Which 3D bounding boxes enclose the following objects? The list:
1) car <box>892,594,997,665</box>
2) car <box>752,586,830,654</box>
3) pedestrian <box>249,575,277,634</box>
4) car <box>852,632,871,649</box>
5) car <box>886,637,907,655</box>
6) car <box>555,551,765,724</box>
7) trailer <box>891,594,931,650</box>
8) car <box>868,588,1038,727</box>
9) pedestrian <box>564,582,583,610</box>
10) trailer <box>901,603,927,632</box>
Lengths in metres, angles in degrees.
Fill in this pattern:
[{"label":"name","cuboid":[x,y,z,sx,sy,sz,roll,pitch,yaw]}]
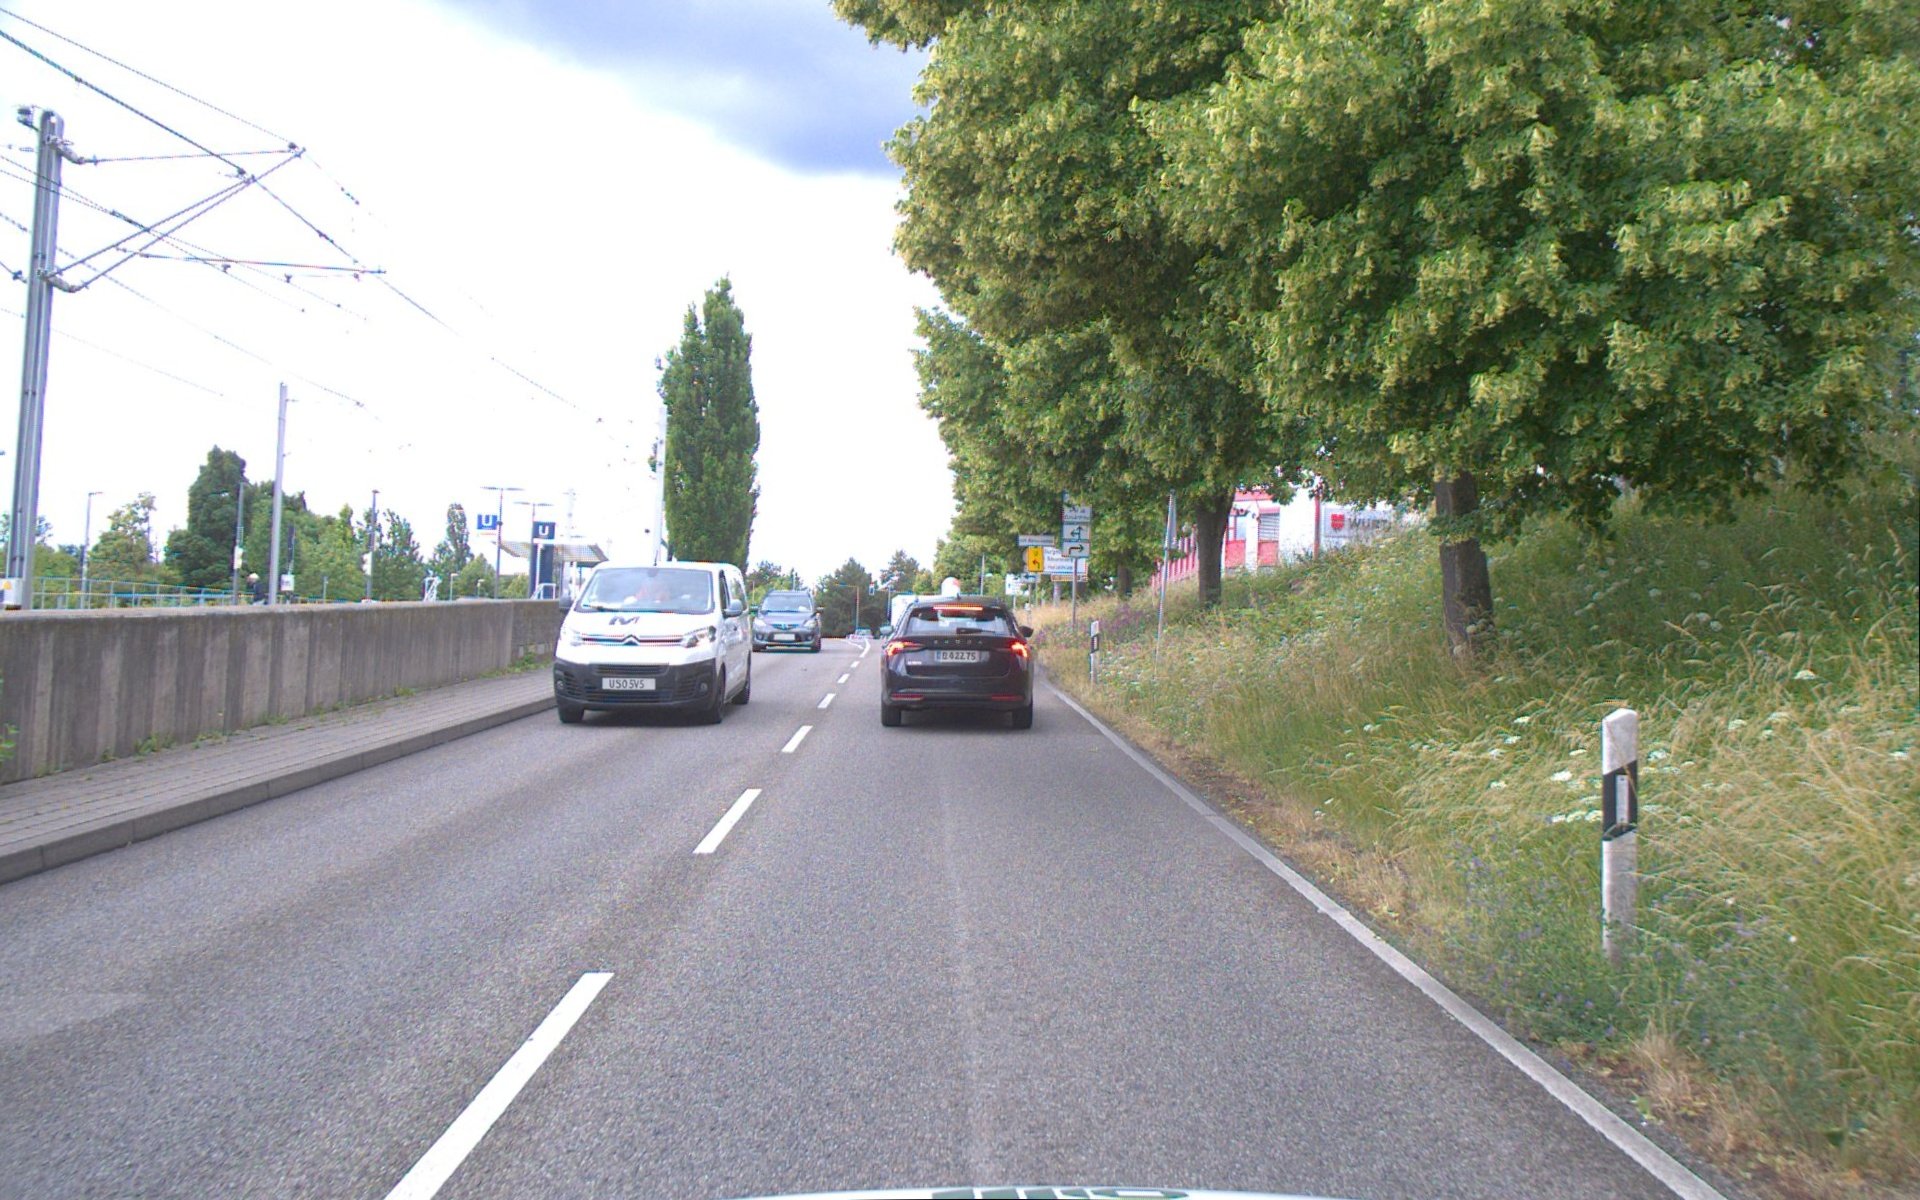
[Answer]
[{"label":"car","cuboid":[-0.389,0.619,36.617,1.595,1.483,3.677,1,0,-13]},{"label":"car","cuboid":[-4.473,0.501,44.190,1.786,1.686,4.244,1,0,-2]},{"label":"pedestrian","cuboid":[-19.683,0.120,46.711,0.497,1.653,0.645,1,-1,-2]},{"label":"car","cuboid":[-8.350,3.400,140.092,1.495,1.378,3.487,1,0,-4]},{"label":"car","cuboid":[-5.418,3.928,141.216,1.775,1.378,4.116,2,-1,-2]},{"label":"car","cuboid":[-3.563,0.415,20.508,1.858,1.865,4.903,0,0,-2]},{"label":"trailer","cuboid":[-3.837,1.774,127.636,2.516,3.771,7.751,1,-5,-6]},{"label":"car","cuboid":[0.027,0.607,19.912,1.797,1.457,4.280,1,0,3]},{"label":"pedestrian","cuboid":[-17.668,-0.181,75.548,0.747,1.220,0.664,1,-2,-8]},{"label":"trailer","cuboid":[-2.719,1.044,97.121,1.381,1.622,3.300,1,-2,-4]}]
